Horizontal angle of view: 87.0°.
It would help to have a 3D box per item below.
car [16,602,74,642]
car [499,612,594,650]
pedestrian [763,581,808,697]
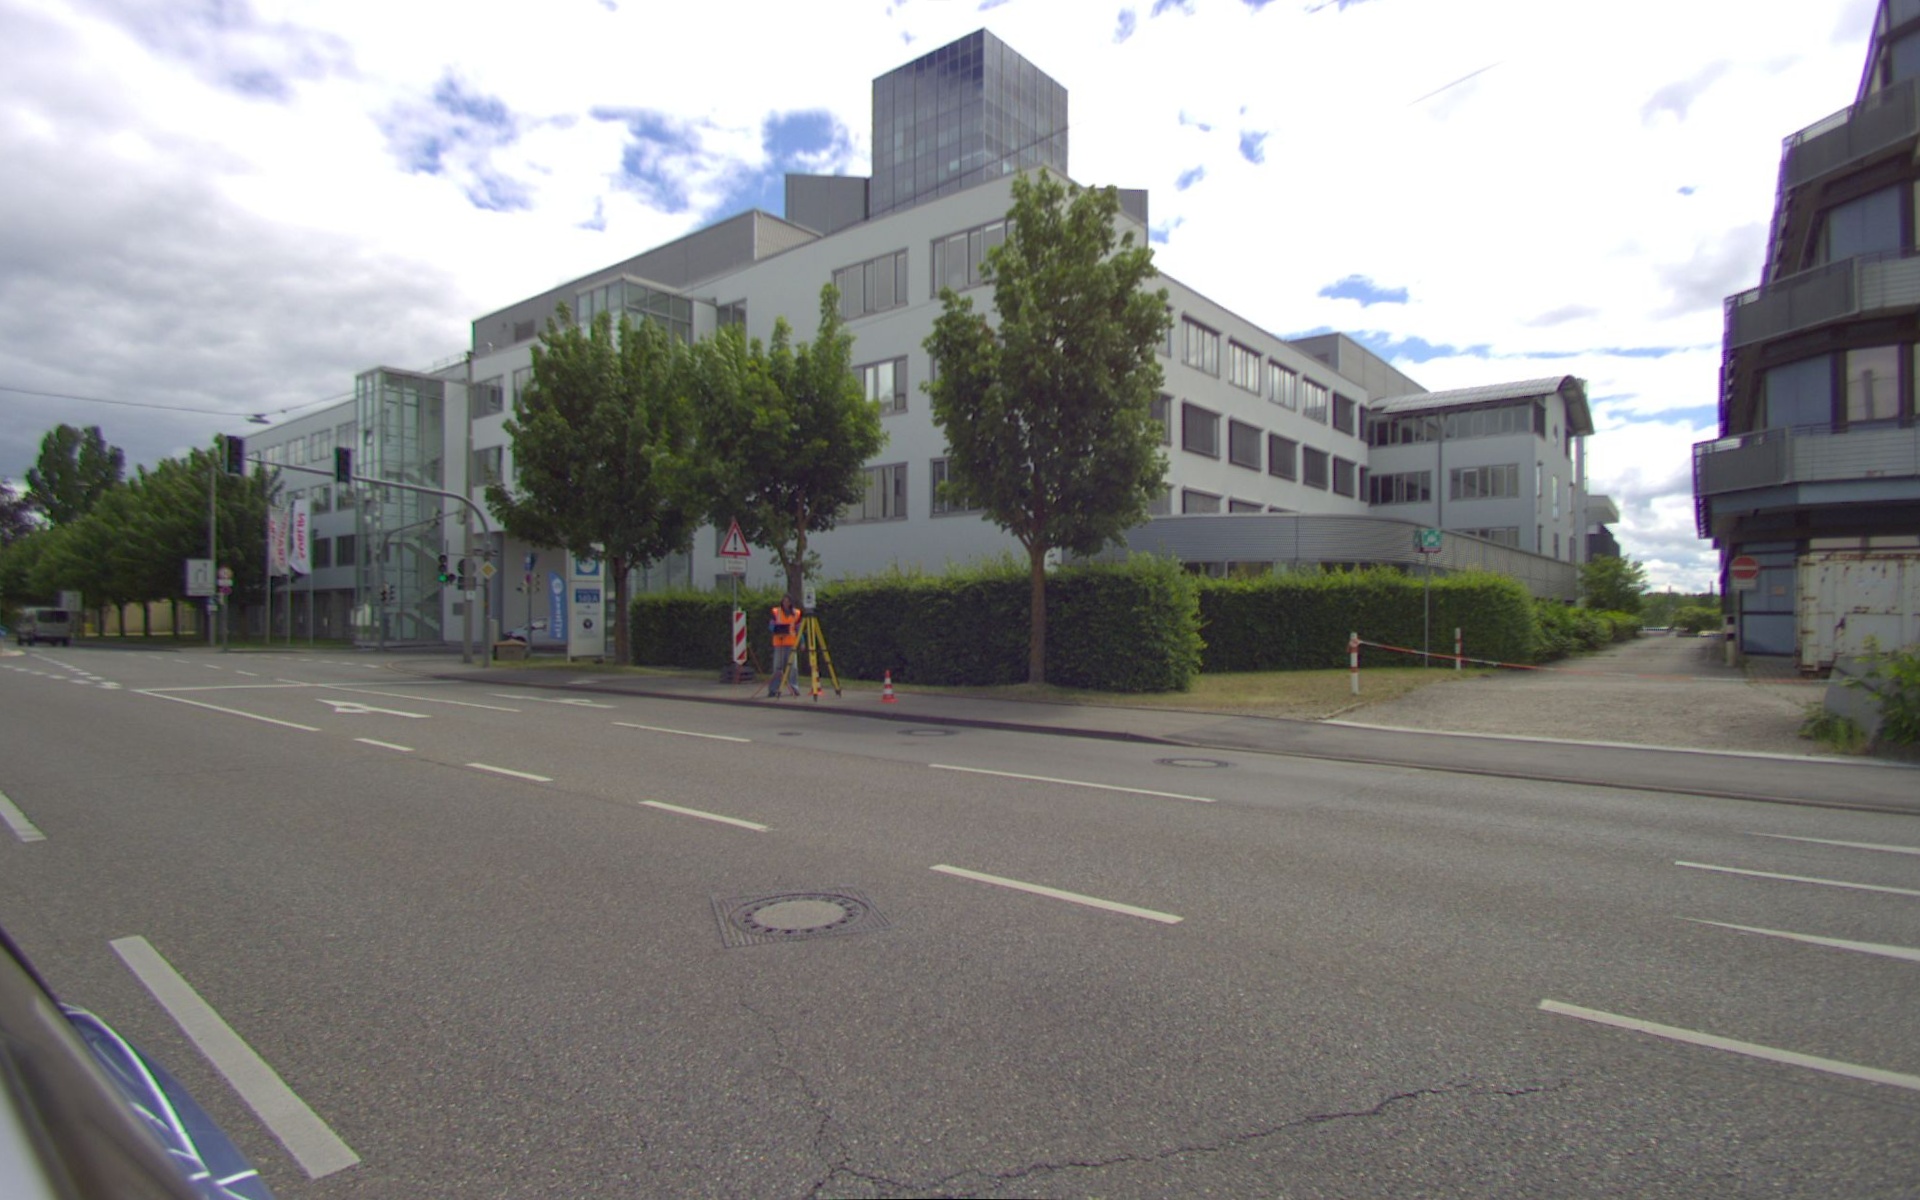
[{"bbox_3d":[-59.755,1.423,66.056,6.071,2.490,2.120,-1,-3,42],"label":"car"},{"bbox_3d":[-23.224,1.736,56.887,4.751,1.882,2.091,3,-1,-26],"label":"car"},{"bbox_3d":[-3.112,0.672,18.130,0.715,2.029,0.812,-1,1,-7],"label":"pedestrian"}]
